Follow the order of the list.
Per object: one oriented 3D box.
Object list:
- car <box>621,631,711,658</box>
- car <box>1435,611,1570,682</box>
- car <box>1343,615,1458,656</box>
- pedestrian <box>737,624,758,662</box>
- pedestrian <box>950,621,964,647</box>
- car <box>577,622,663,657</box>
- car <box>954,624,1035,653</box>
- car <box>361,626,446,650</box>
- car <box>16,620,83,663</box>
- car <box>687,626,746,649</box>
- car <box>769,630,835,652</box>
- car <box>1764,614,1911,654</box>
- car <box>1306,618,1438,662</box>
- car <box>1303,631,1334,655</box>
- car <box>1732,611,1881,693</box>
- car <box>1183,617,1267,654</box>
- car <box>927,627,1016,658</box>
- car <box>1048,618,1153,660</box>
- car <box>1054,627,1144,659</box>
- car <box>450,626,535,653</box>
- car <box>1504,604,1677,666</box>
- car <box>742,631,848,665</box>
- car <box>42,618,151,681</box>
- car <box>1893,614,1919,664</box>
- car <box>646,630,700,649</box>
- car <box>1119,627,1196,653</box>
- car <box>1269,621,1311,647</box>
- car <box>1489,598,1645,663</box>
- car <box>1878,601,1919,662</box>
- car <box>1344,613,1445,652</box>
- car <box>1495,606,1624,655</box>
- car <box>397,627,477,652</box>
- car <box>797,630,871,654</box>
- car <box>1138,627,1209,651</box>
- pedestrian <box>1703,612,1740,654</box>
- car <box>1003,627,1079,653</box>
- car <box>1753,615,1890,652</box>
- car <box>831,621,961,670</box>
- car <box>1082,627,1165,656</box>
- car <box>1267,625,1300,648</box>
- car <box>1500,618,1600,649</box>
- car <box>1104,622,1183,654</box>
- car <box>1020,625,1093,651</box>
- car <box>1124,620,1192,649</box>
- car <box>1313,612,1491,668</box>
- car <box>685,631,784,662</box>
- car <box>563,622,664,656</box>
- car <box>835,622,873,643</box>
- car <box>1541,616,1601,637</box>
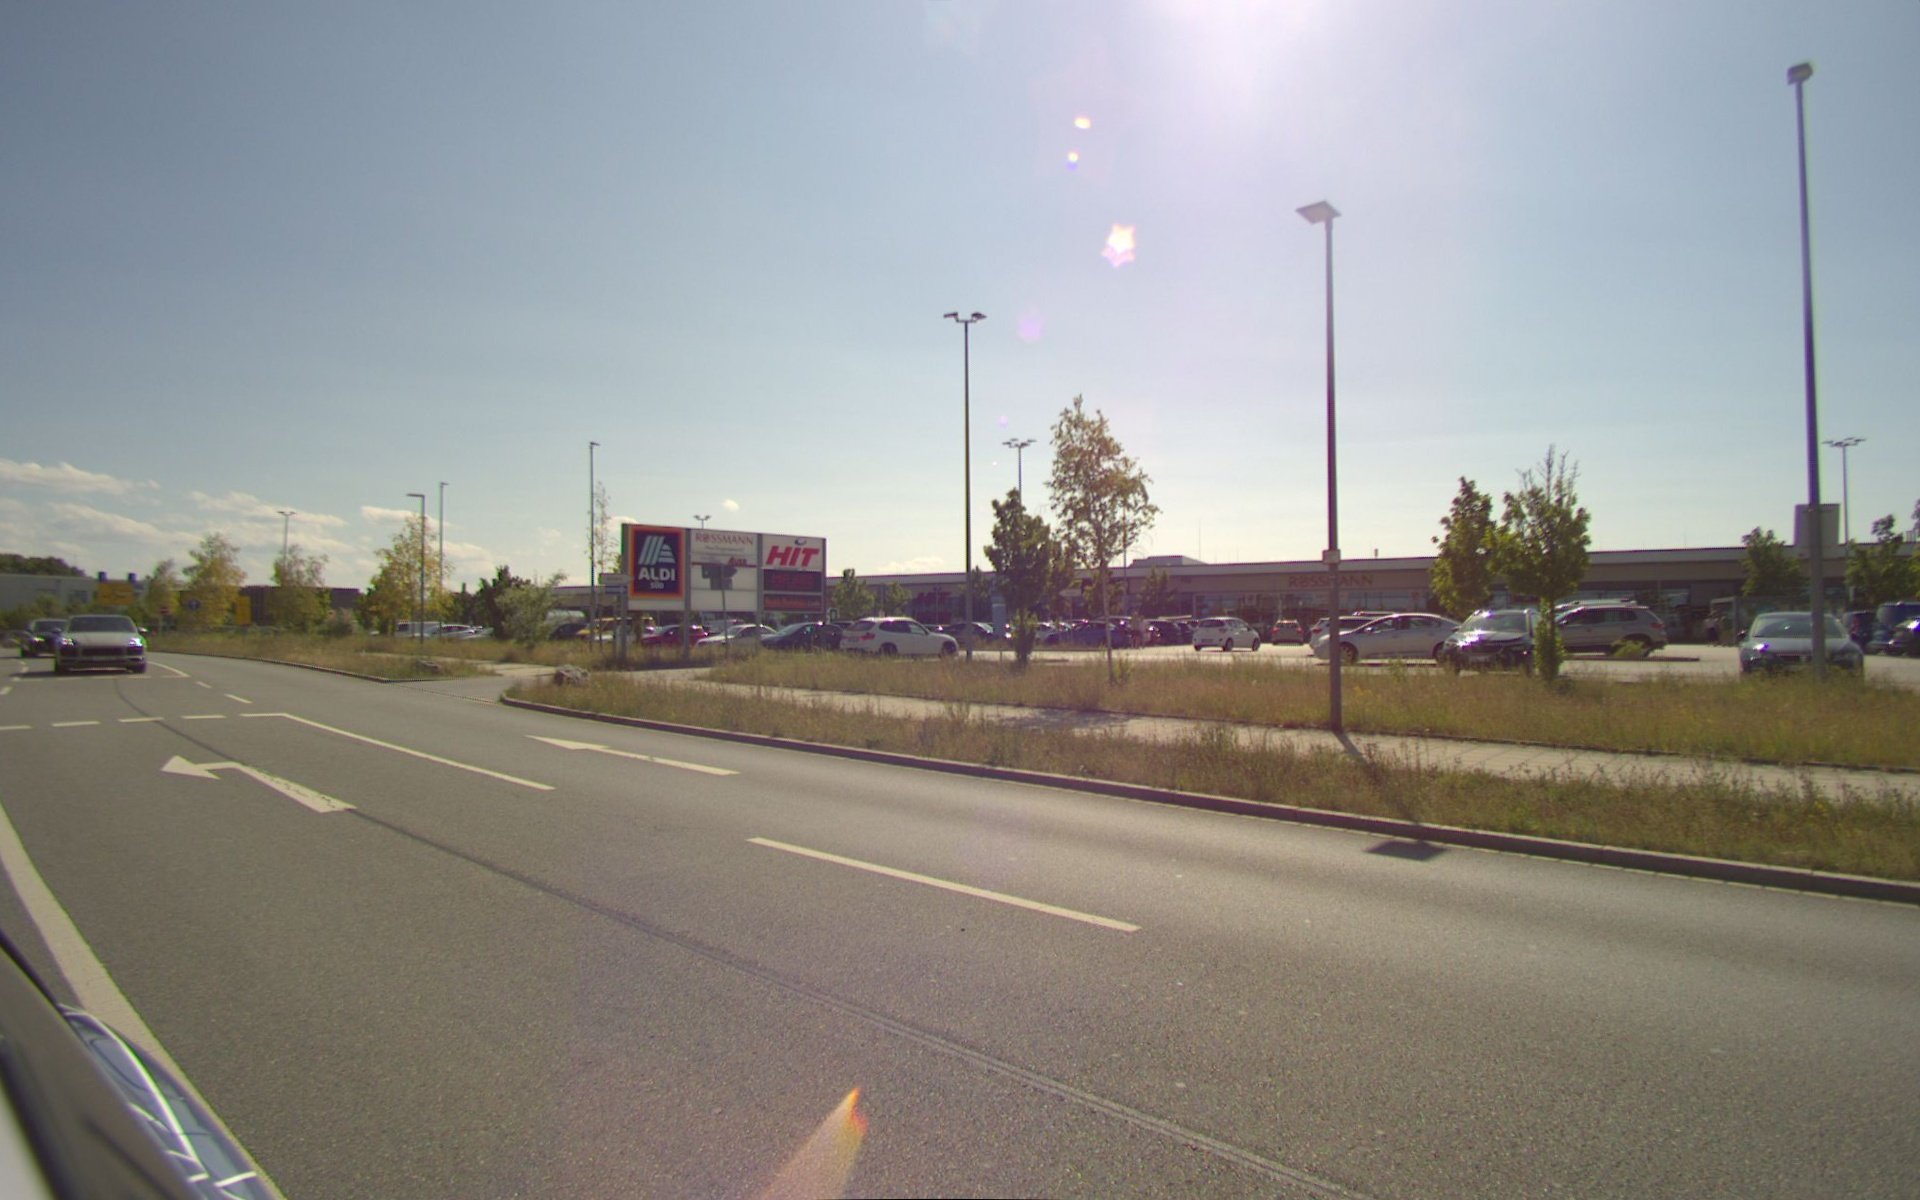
[{"bbox_3d":[-15.304,2.313,52.825,4.096,1.358,1.937,2,-3,-45],"label":"car"},{"bbox_3d":[12.536,1.020,23.261,1.837,1.469,4.529,-1,-2,40],"label":"car"},{"bbox_3d":[19.111,1.540,44.120,4.343,1.731,1.907,0,-2,16],"label":"car"},{"bbox_3d":[-9.696,1.973,46.138,0.755,1.708,0.579,2,-2,-44],"label":"pedestrian"},{"bbox_3d":[-0.224,2.376,70.426,0.777,1.838,0.565,-1,-2,27],"label":"pedestrian"},{"bbox_3d":[-18.841,2.207,56.186,1.933,1.875,4.098,-2,-3,43],"label":"car"},{"bbox_3d":[1.984,2.200,57.773,4.329,1.573,1.703,-1,-2,25],"label":"car"},{"bbox_3d":[-40.484,2.796,73.754,1.993,1.685,5.140,-2,-3,32],"label":"car"},{"bbox_3d":[-38.407,1.751,42.668,4.381,1.700,1.733,-2,-3,43],"label":"car"},{"bbox_3d":[-19.242,2.942,79.797,4.562,1.754,1.701,-1,-3,28],"label":"car"},{"bbox_3d":[-10.991,2.839,70.344,4.333,1.538,1.701,-1,-3,28],"label":"car"},{"bbox_3d":[37.520,1.453,43.428,4.359,1.645,1.821,-1,-2,27],"label":"car"},{"bbox_3d":[15.060,1.440,37.015,4.359,1.523,1.821,-1,-2,27],"label":"car"},{"bbox_3d":[25.909,3.087,73.039,1.708,1.646,4.317,-1,-2,25],"label":"car"},{"bbox_3d":[16.196,0.944,19.414,1.974,1.394,4.378,-1,-2,40],"label":"car"},{"bbox_3d":[11.774,1.563,44.871,1.918,1.559,3.942,-2,-2,44],"label":"car"},{"bbox_3d":[0.582,2.189,52.469,4.329,1.528,1.703,-1,-2,25],"label":"car"},{"bbox_3d":[6.860,1.919,49.519,4.806,2.001,1.703,-1,-2,25],"label":"car"},{"bbox_3d":[7.148,2.208,52.095,4.329,1.593,1.703,-1,-2,25],"label":"car"},{"bbox_3d":[-30.359,2.551,65.827,1.998,1.685,4.655,-2,-3,39],"label":"car"},{"bbox_3d":[19.551,1.079,31.632,4.359,1.837,1.821,-1,-2,27],"label":"car"},{"bbox_3d":[-6.997,2.035,43.187,4.096,1.358,1.937,2,-3,-45],"label":"car"},{"bbox_3d":[-24.980,1.432,29.222,2.084,1.656,4.780,1,-3,-44],"label":"car"},{"bbox_3d":[32.144,1.208,31.355,4.355,1.574,1.823,-1,-2,24],"label":"car"},{"bbox_3d":[-24.135,3.348,85.166,4.331,1.599,1.702,-1,-2,26],"label":"car"},{"bbox_3d":[12.099,2.460,61.994,4.329,1.548,1.703,-1,-2,25],"label":"car"},{"bbox_3d":[19.848,2.031,60.782,1.830,1.559,3.964,-1,-2,26],"label":"car"},{"bbox_3d":[20.466,1.032,34.372,4.359,2.080,1.821,-1,-2,27],"label":"car"},{"bbox_3d":[33.577,1.038,33.487,4.359,2.009,1.821,-1,-2,27],"label":"car"},{"bbox_3d":[20.922,1.574,48.910,4.352,1.807,1.903,-1,-2,22],"label":"car"},{"bbox_3d":[25.824,1.315,43.771,4.609,2.040,1.821,-1,-2,27],"label":"car"},{"bbox_3d":[-36.474,2.724,70.666,1.997,1.685,4.546,-2,-3,37],"label":"car"},{"bbox_3d":[-7.830,2.593,62.652,4.329,1.428,1.703,-1,-2,25],"label":"car"},{"bbox_3d":[14.110,2.573,66.917,4.329,1.548,1.703,-1,-2,25],"label":"car"},{"bbox_3d":[38.192,1.660,50.751,1.244,2.064,1.083,-1,-2,26],"label":"pedestrian"},{"bbox_3d":[4.982,2.441,62.353,4.329,1.556,1.703,-1,-2,25],"label":"car"},{"bbox_3d":[38.909,1.511,45.867,4.359,1.635,1.821,-1,-2,27],"label":"car"},{"bbox_3d":[-2.112,1.511,34.312,4.162,1.559,1.919,2,-2,-44],"label":"car"},{"bbox_3d":[9.211,2.333,57.139,4.329,1.588,1.703,-1,-2,25],"label":"car"},{"bbox_3d":[23.732,2.665,74.189,1.708,1.646,4.317,-1,-2,25],"label":"car"},{"bbox_3d":[30.739,1.739,52.897,4.359,1.604,1.821,-1,-2,27],"label":"car"},{"bbox_3d":[10.781,2.245,59.534,4.329,1.865,1.703,-1,-2,25],"label":"car"},{"bbox_3d":[6.166,2.457,64.831,4.329,1.628,1.703,-1,-2,25],"label":"car"},{"bbox_3d":[13.754,2.419,70.302,4.329,1.974,1.703,-1,-2,25],"label":"car"},{"bbox_3d":[12.848,1.146,29.485,4.600,1.523,1.820,-1,-2,29],"label":"car"},{"bbox_3d":[-10.441,2.145,46.958,4.096,1.358,1.937,2,-3,-45],"label":"car"},{"bbox_3d":[-20.944,2.381,61.390,1.997,1.980,5.626,-2,-3,38],"label":"car"},{"bbox_3d":[-9.544,2.977,91.698,1.704,1.821,4.325,-1,-2,20],"label":"car"},{"bbox_3d":[54.172,2.326,89.867,4.359,1.804,1.900,-1,-2,27],"label":"car"}]
